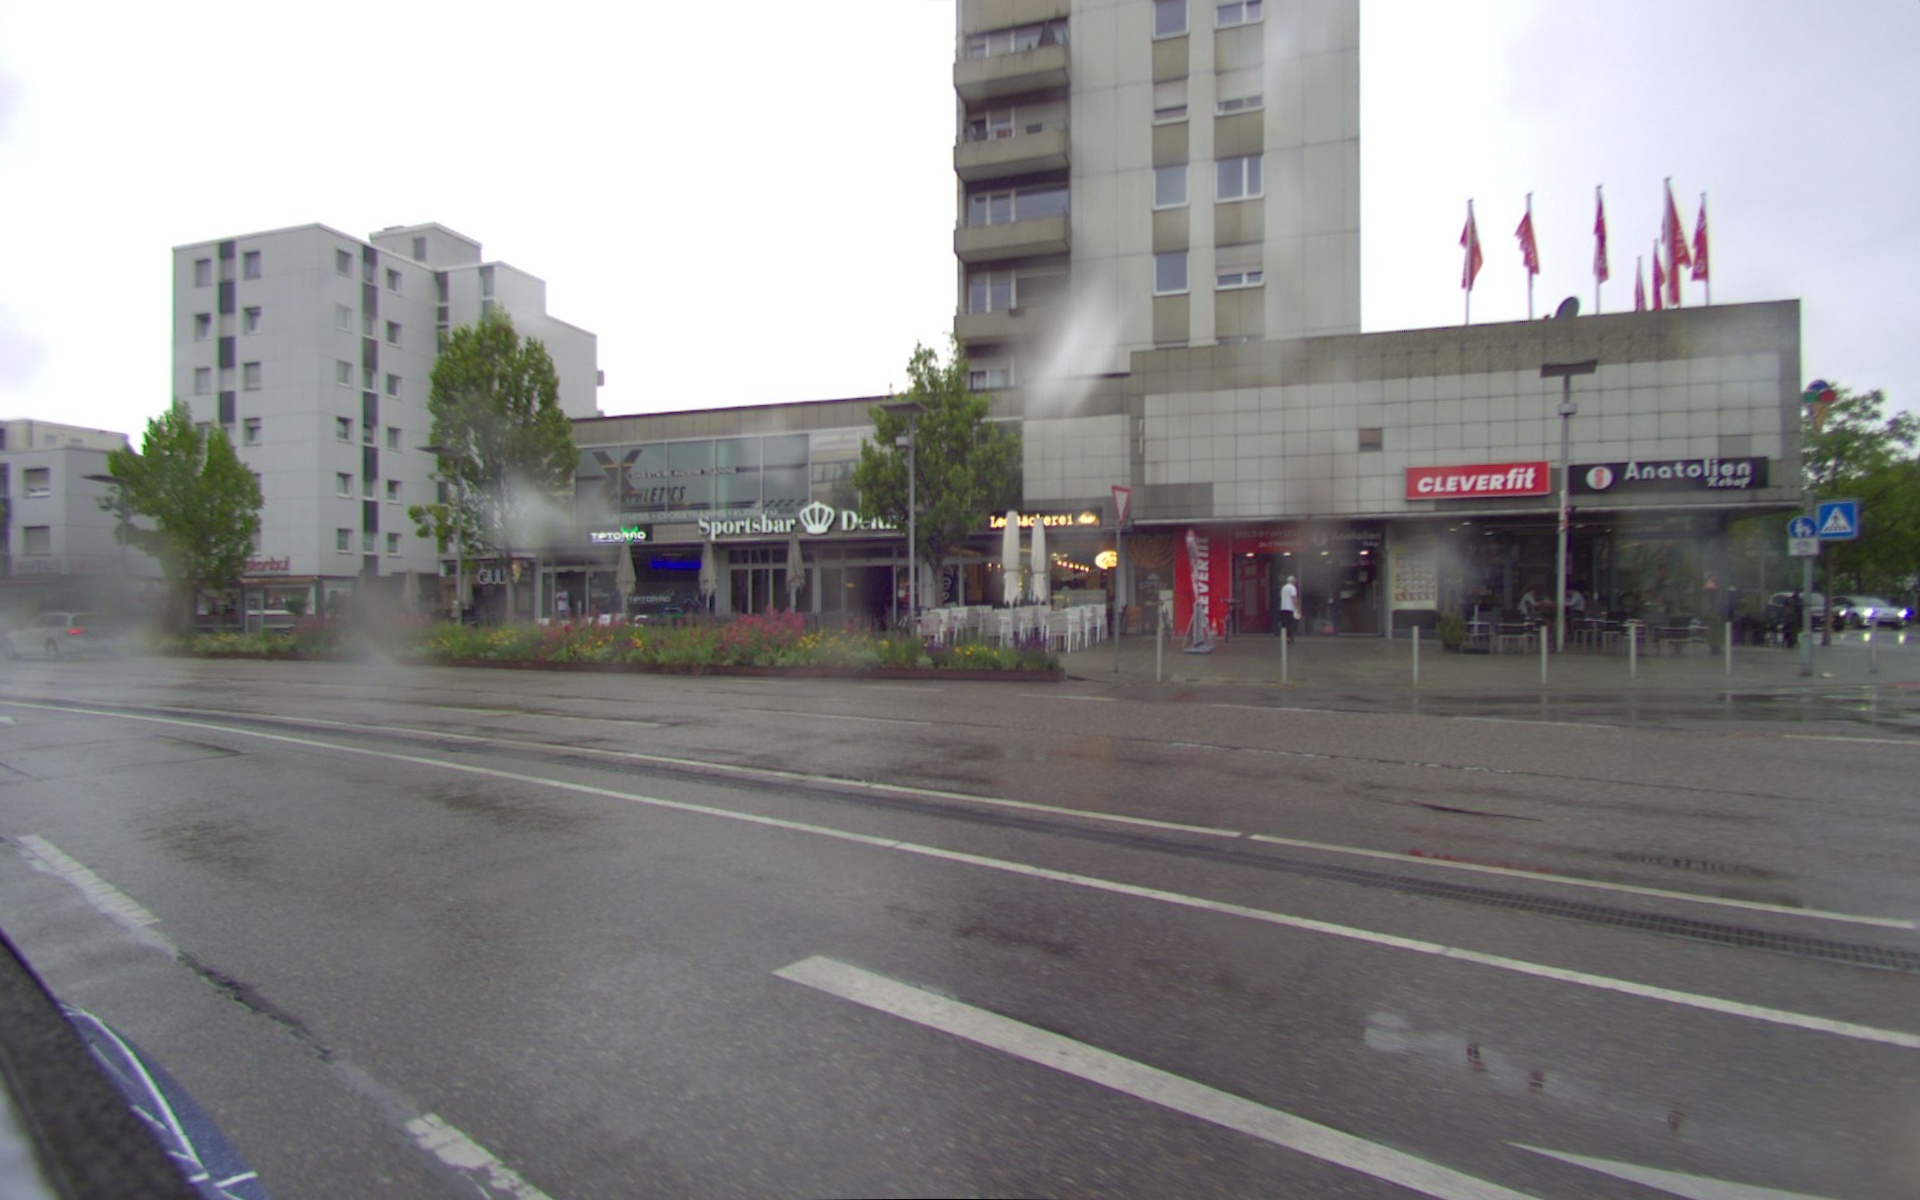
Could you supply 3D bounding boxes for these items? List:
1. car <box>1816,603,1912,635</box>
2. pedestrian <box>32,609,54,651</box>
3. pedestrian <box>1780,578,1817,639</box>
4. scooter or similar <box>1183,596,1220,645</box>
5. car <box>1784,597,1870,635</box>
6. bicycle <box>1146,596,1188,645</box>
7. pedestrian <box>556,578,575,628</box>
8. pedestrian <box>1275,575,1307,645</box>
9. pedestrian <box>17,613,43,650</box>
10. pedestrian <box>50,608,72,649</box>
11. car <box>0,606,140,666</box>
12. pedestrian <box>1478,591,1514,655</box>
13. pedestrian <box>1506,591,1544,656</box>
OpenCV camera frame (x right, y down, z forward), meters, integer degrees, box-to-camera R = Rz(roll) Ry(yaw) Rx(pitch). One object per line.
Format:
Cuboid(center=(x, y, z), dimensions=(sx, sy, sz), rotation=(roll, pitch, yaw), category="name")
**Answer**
Cuboid(center=(41.975, 0.855, 47.125), dimensions=(1.757, 1.431, 4.037), rotation=(0, 0, 16), category="car")
Cuboid(center=(-37.493, 1.229, 41.383), dimensions=(0.532, 1.672, 0.476), rotation=(-1, -1, 19), category="pedestrian")
Cuboid(center=(26.900, 0.270, 32.479), dimensions=(0.806, 1.908, 0.711), rotation=(-1, -1, 35), category="pedestrian")
Cuboid(center=(6.240, 0.506, 26.076), dimensions=(0.638, 1.183, 2.576), rotation=(-1, 0, 19), category="scooter or similar")
Cuboid(center=(38.616, 0.703, 45.179), dimensions=(1.705, 1.607, 3.970), rotation=(-1, 0, 22), category="car")
Cuboid(center=(5.497, 0.508, 26.816), dimensions=(0.691, 1.232, 2.536), rotation=(-1, 0, 20), category="bicycle")
Cuboid(center=(-14.599, 0.113, 37.440), dimensions=(0.499, 1.862, 0.423), rotation=(-1, -1, 28), category="pedestrian")
Cuboid(center=(8.214, 0.243, 25.162), dimensions=(0.709, 1.706, 0.653), rotation=(-1, 0, 17), category="pedestrian")
Cuboid(center=(-39.183, 1.332, 42.659), dimensions=(0.606, 1.516, 0.537), rotation=(-1, -1, -5), category="pedestrian")
Cuboid(center=(-37.344, 1.192, 42.041), dimensions=(0.476, 1.672, 0.532), rotation=(-1, -1, 23), category="pedestrian")
Cuboid(center=(-27.201, 1.070, 30.755), dimensions=(4.481, 1.695, 1.875), rotation=(-1, 0, 26), category="car")
Cuboid(center=(11.644, 0.488, 21.992), dimensions=(0.489, 1.358, 0.538), rotation=(0, 0, -39), category="pedestrian")
Cuboid(center=(12.001, 0.491, 21.513), dimensions=(0.489, 1.358, 0.538), rotation=(0, -1, -37), category="pedestrian")
